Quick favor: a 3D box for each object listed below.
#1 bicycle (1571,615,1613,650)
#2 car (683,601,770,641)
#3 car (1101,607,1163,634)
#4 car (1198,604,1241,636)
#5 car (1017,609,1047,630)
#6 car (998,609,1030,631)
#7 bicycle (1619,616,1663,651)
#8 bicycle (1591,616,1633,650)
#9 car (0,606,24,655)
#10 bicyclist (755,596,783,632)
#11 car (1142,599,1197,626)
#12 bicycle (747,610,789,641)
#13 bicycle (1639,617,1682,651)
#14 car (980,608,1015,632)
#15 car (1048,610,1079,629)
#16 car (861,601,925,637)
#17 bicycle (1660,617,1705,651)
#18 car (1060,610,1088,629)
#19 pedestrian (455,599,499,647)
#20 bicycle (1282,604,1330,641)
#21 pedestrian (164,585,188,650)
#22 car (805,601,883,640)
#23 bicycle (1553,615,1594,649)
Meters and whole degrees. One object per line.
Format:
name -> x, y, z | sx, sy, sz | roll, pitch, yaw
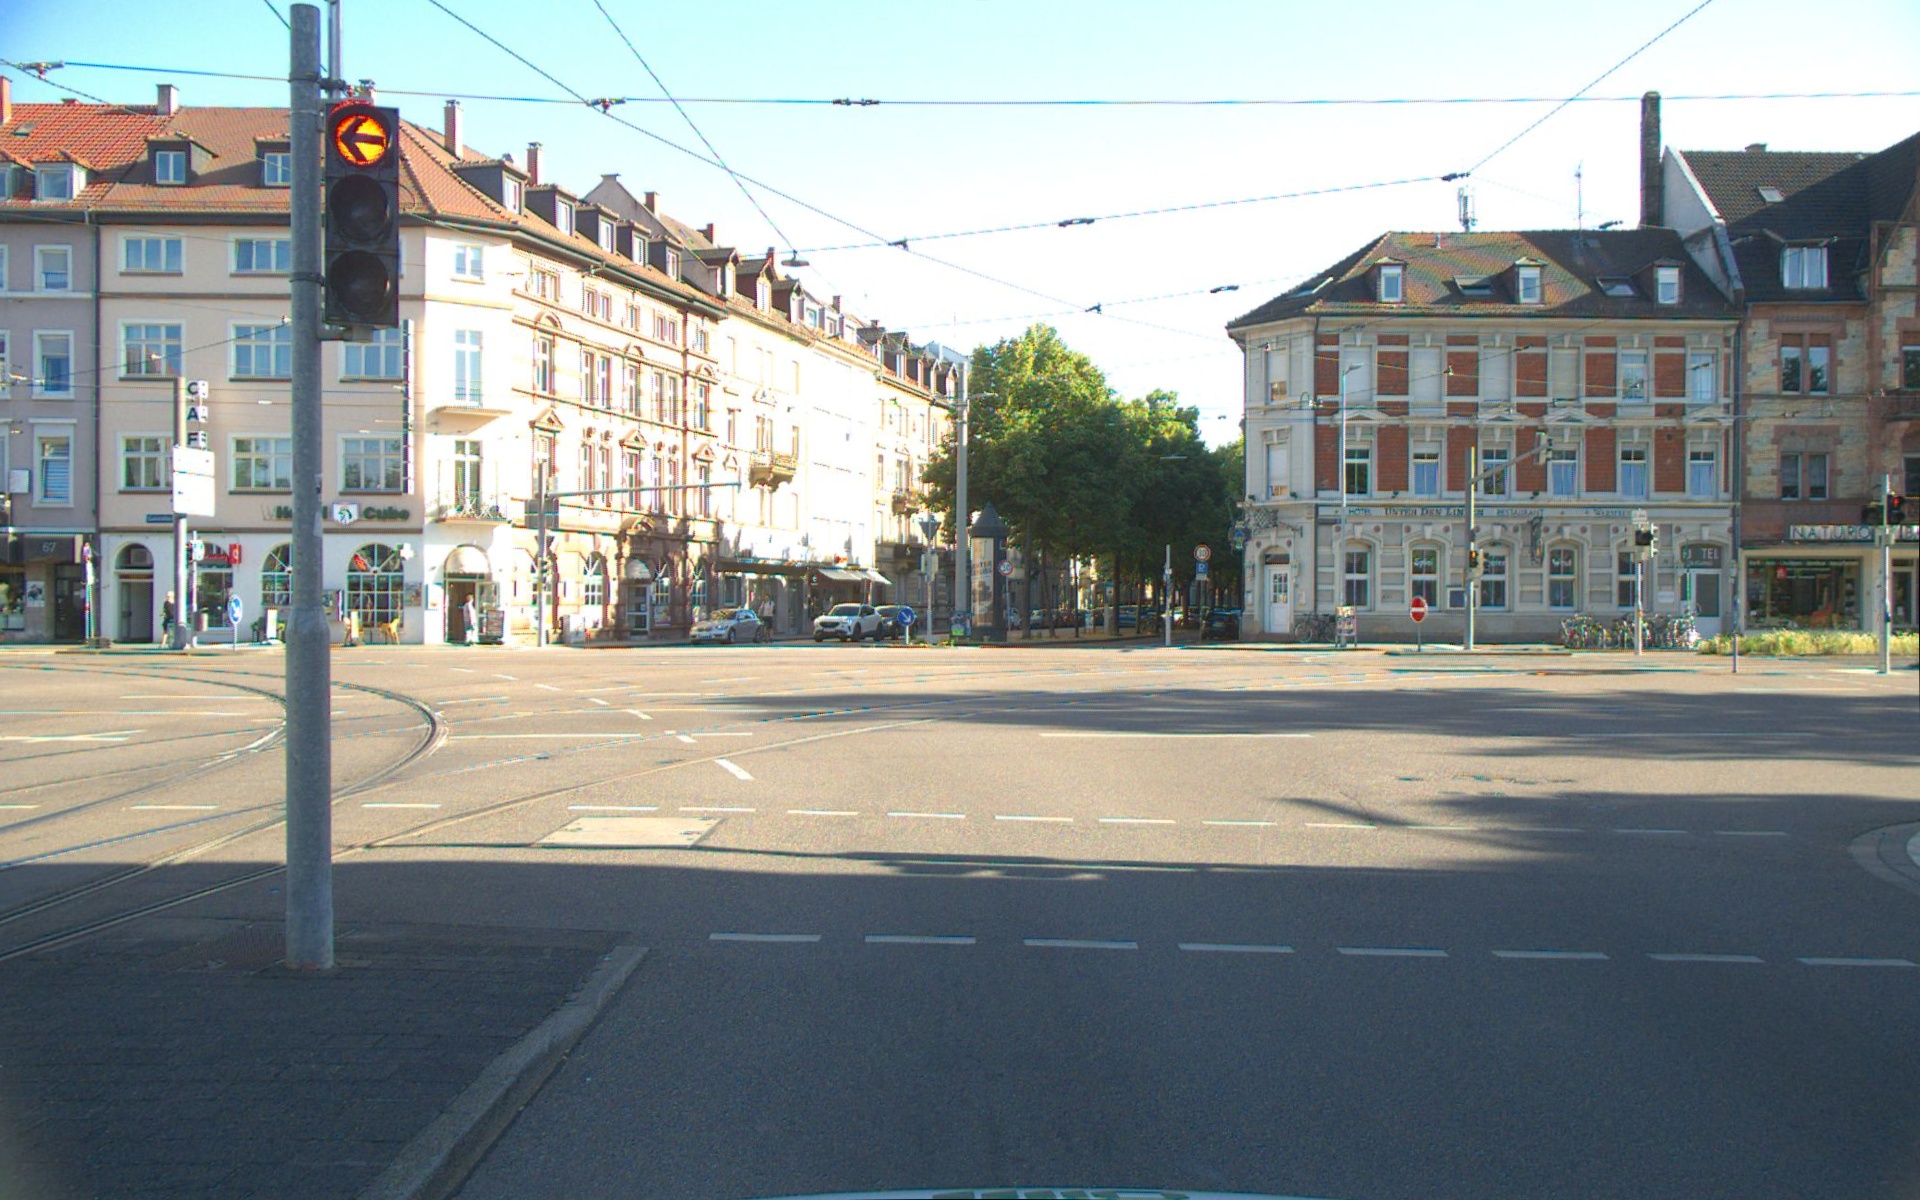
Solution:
bicycle -> 20.466, 1.045, 53.564 | 0.593, 1.069, 1.641 | 0, 0, -6
car -> -9.450, 0.816, 67.218 | 2.052, 1.572, 4.367 | 0, 0, 13
car -> 12.007, 1.411, 115.381 | 4.024, 1.675, 1.748 | 3, 0, 15
car -> 12.976, 1.011, 82.462 | 1.616, 1.551, 3.755 | 0, -1, 17
car -> 5.338, 1.422, 122.837 | 1.704, 1.422, 4.127 | 3, 0, 9
car -> 3.806, 1.365, 115.837 | 1.704, 1.422, 4.127 | 3, 0, 9
bicycle -> 21.944, 1.069, 53.322 | 0.593, 1.069, 1.641 | 0, 0, -6
bicycle -> 21.118, 1.056, 53.590 | 0.593, 1.069, 1.641 | 0, 0, -6
car -> -32.063, 0.997, 52.154 | 3.910, 1.489, 1.998 | -1, 1, -6
bicyclist -> -7.559, 0.547, 65.462 | 0.776, 1.399, 1.109 | 0, 0, 14
car -> 16.961, 1.024, 133.661 | 4.026, 1.952, 1.746 | 3, 0, 21
bicycle -> -7.573, 0.998, 65.492 | 0.734, 1.155, 2.812 | 0, 0, 14
bicycle -> 22.604, 1.081, 53.398 | 0.593, 1.069, 1.641 | 0, 0, -6
car -> 2.529, 1.317, 110.014 | 1.704, 1.422, 4.127 | 3, 0, 9
car -> 8.247, 1.547, 131.704 | 1.704, 1.422, 4.127 | 3, 0, 13
car -> -2.958, 0.802, 73.470 | 1.951, 1.540, 4.004 | 0, 0, 11
bicycle -> 23.330, 1.094, 53.419 | 0.593, 1.069, 1.641 | 0, 0, -6
car -> 9.425, 1.583, 136.499 | 1.704, 1.422, 4.127 | 3, 0, 13
pedestrian -> -16.441, 0.764, 56.272 | 1.022, 1.618, 1.064 | 0, 0, 37
bicycle -> 11.976, 0.771, 57.299 | 1.603, 1.243, 0.607 | 0, 0, 16
pedestrian -> -24.666, 0.540, 52.033 | 0.498, 2.049, 0.505 | 0, 0, 2
car -> -4.650, 0.794, 67.077 | 2.052, 1.525, 4.003 | 0, 0, 13
bicycle -> 19.825, 1.033, 53.508 | 0.593, 1.069, 1.641 | 0, 0, -6
